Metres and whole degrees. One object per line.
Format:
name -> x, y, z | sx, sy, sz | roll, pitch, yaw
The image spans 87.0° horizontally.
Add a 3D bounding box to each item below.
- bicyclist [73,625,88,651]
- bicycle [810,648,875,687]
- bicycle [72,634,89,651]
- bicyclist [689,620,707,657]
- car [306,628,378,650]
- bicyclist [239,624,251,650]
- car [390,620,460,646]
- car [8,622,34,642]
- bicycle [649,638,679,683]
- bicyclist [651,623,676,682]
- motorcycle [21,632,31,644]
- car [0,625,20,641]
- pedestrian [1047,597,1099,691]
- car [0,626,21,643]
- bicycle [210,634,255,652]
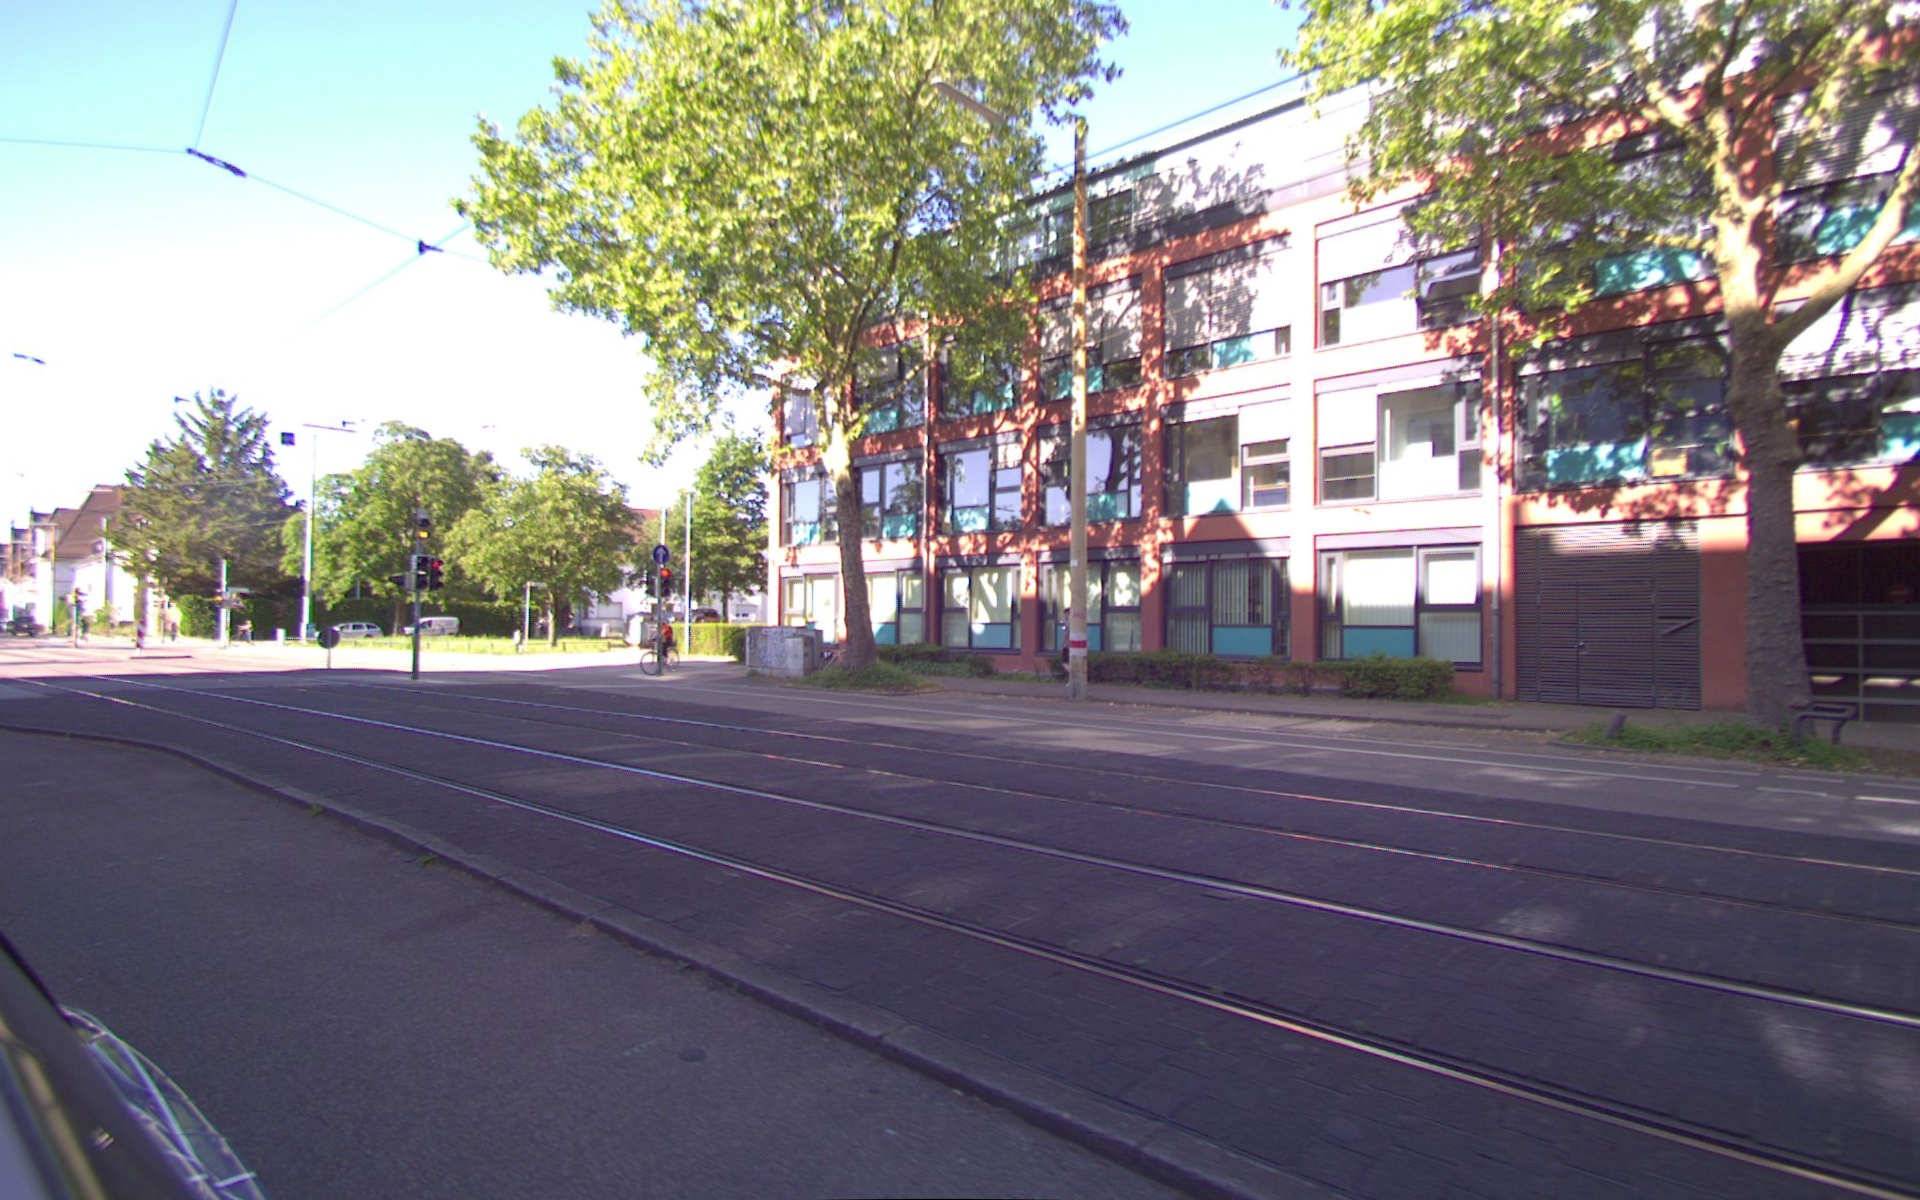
bicyclist -> -58.068, 2.531, 66.818 | 0.901, 1.724, 0.581 | -2, -4, 41
bicycle -> -2.928, 1.666, 25.230 | 1.533, 0.913, 0.518 | 0, -2, 20
bicycle -> -58.137, 2.830, 66.869 | 1.826, 1.122, 0.580 | -2, -4, 41
bicyclist -> -11.581, 1.682, 44.696 | 0.636, 1.624, 0.783 | -1, -1, -23
car -> -41.900, 2.650, 68.621 | 3.937, 1.444, 1.819 | 2, -3, -41
bicyclist -> -46.236, 2.390, 65.395 | 0.551, 1.635, 0.900 | 2, -3, -38
car -> -39.512, 2.415, 74.777 | 4.251, 1.881, 1.818 | 1, -1, -44
car -> -94.908, 3.252, 102.285 | 1.897, 1.915, 4.003 | -1, -1, -44
bicycle -> -8.838, 1.777, 30.137 | 0.623, 1.138, 2.042 | -3, 2, -21
bicyclist -> -8.839, 1.553, 30.123 | 0.596, 1.705, 0.935 | -1, -1, -21
motorcycle -> -84.431, 3.387, 91.498 | 0.597, 1.054, 2.439 | -1, -1, -44
car -> -109.624, 3.769, 116.489 | 4.001, 1.728, 1.898 | -2, -1, 44
pedestrian -> 2.520, 0.967, 22.551 | 0.779, 2.029, 0.902 | -2, -1, 35
car -> -105.579, 3.835, 112.221 | 4.002, 1.728, 1.897 | -2, -1, 45
bicycle -> -46.704, 2.773, 64.987 | 2.250, 1.126, 0.932 | 2, -2, -39
